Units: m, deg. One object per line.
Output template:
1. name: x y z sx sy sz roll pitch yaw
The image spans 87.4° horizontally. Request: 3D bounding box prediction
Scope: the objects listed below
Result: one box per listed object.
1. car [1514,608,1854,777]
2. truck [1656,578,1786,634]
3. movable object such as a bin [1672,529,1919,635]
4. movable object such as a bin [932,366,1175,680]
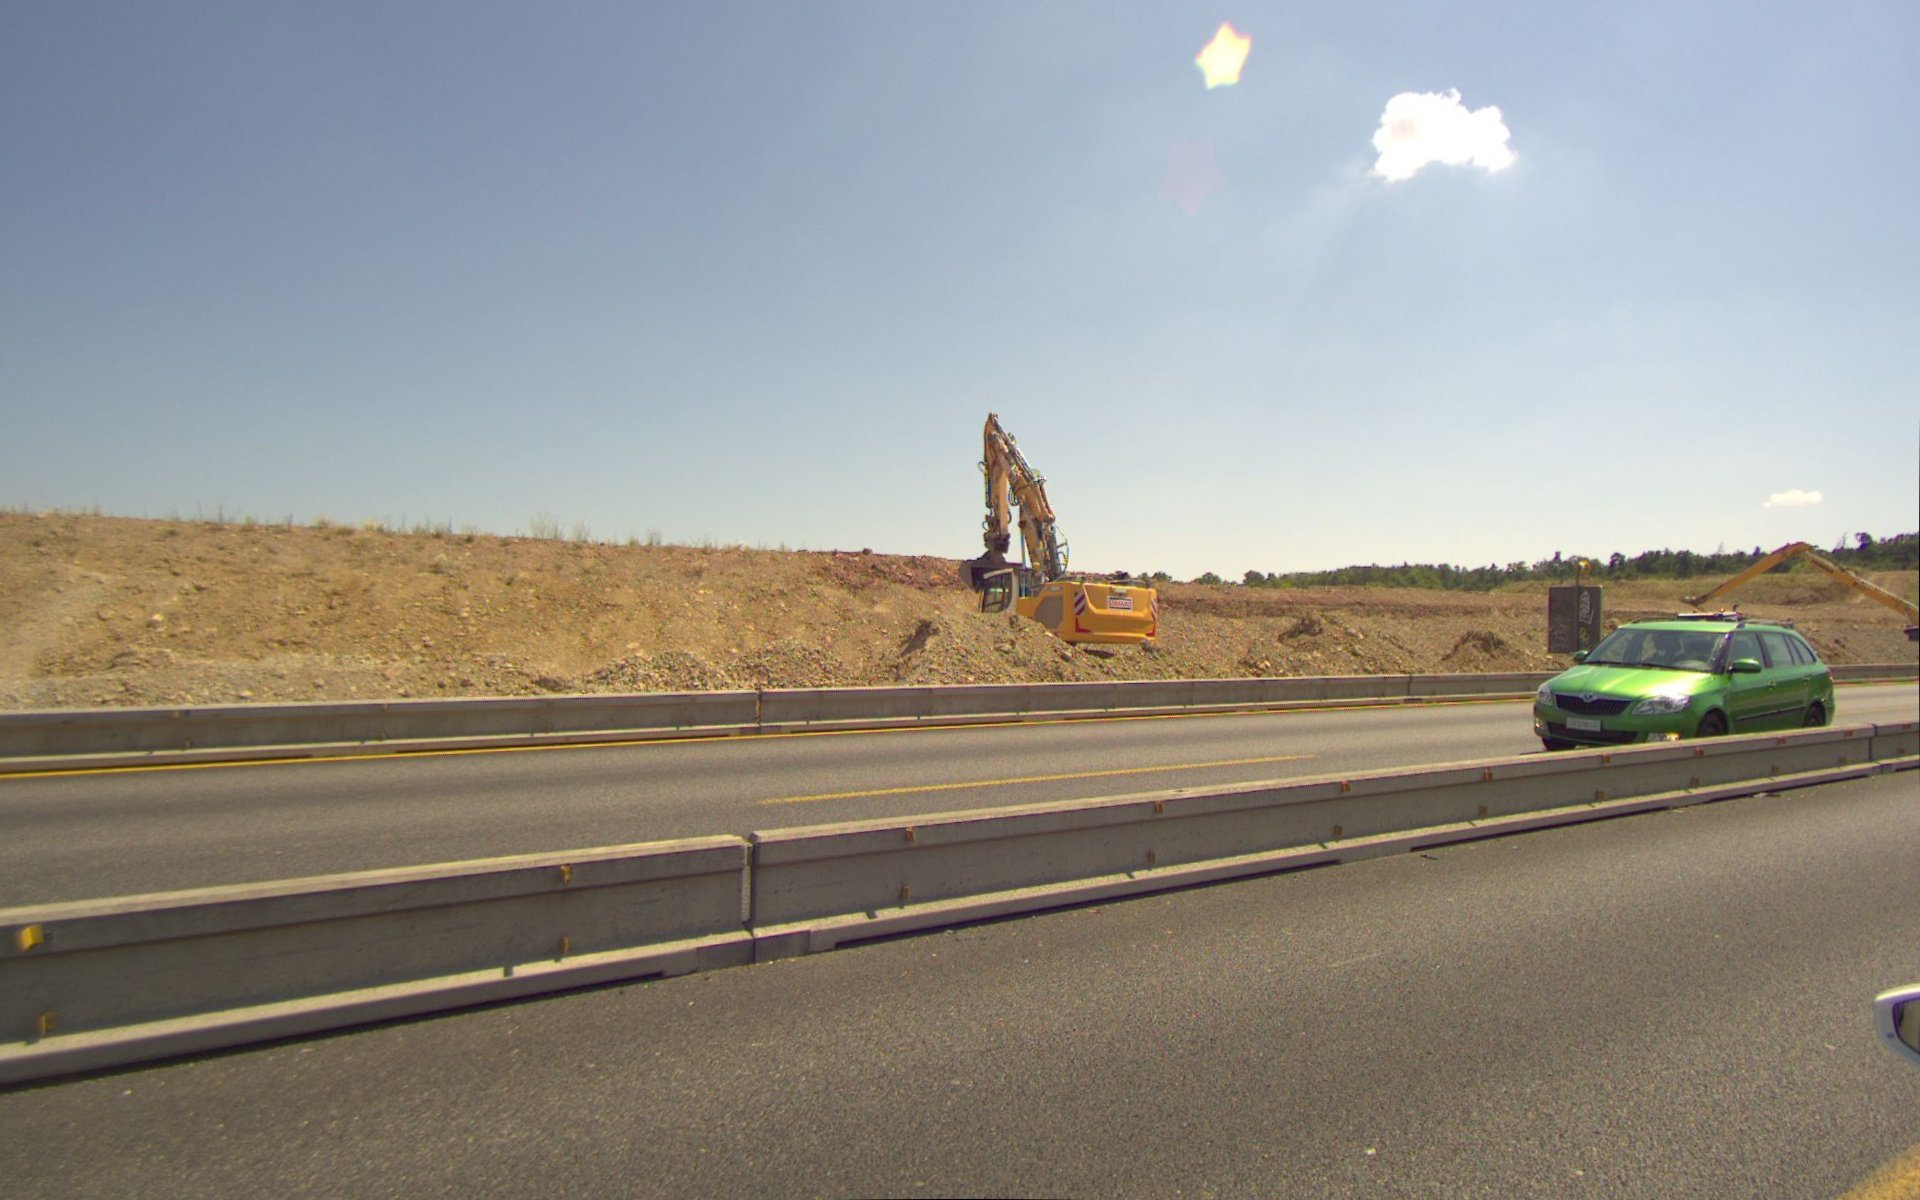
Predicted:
1. car: 8.198 0.925 11.290 4.119 1.601 1.595 1 -1 -30
2. truck: 38.732 0.356 51.014 8.311 2.652 2.305 1 -1 -30
3. movable object such as a bin: 65.298 -1.157 76.249 3.574 7.327 18.616 1 -1 -31
4. movable object such as a bin: 2.406 -1.836 29.151 3.402 7.816 7.607 1 -1 -28
